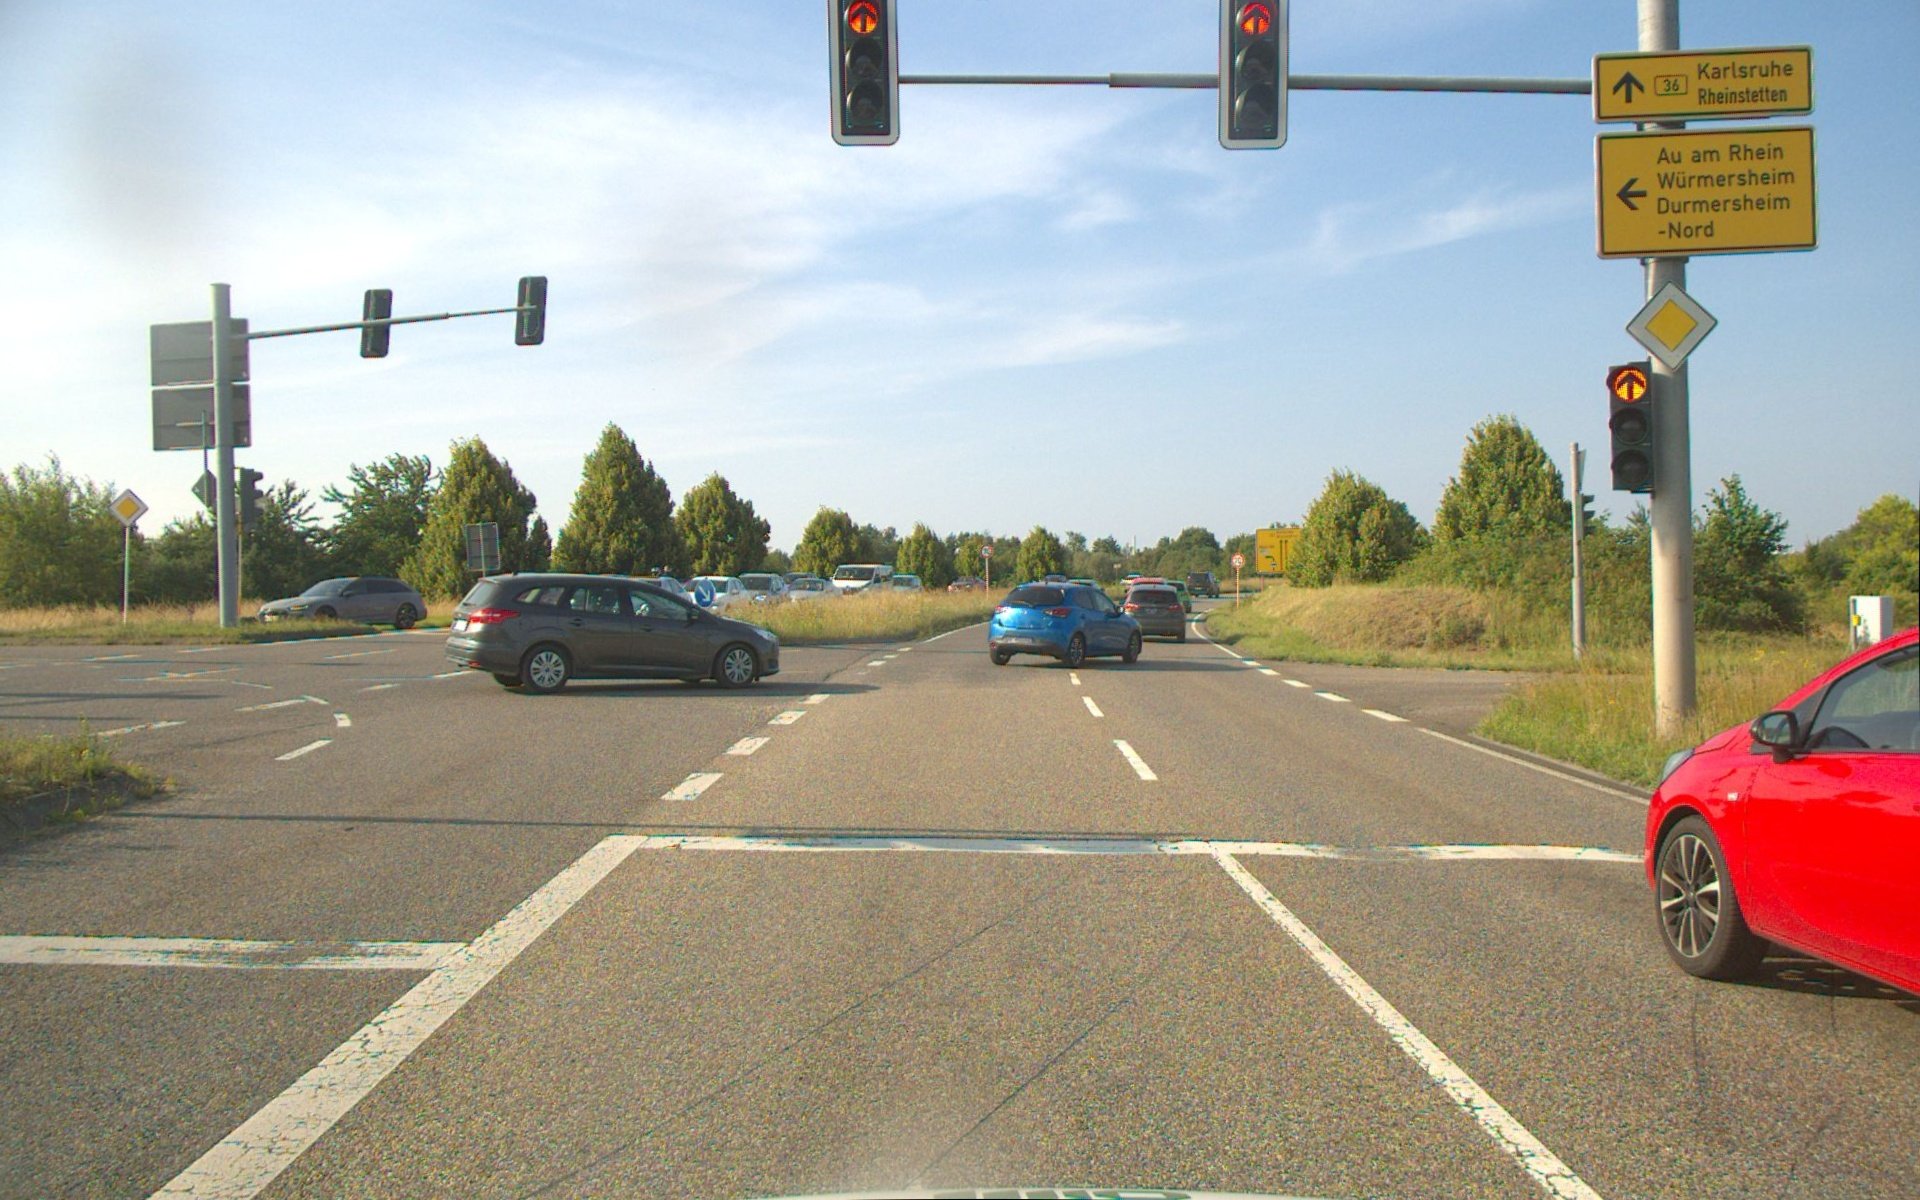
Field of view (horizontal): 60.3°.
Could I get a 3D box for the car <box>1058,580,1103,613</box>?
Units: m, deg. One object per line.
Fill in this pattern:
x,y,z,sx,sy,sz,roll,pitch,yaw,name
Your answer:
5.437,-0.158,74.232,1.797,1.401,4.281,0,-1,7,car

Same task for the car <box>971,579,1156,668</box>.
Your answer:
1.975,0.387,30.545,1.741,1.518,3.975,1,1,32,car

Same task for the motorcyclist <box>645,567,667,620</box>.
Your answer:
-10.253,-0.223,55.745,0.649,1.778,0.605,0,0,-3,motorcyclist

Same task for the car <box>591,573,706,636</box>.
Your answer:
-7.968,0.091,42.667,1.748,1.514,4.654,0,0,4,car

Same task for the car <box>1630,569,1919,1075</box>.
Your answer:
3.807,0.684,5.264,1.663,1.576,3.748,0,0,-3,car

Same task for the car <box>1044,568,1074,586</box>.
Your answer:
8.116,-1.881,135.419,1.748,1.410,4.055,0,0,14,car

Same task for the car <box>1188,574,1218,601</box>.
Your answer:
17.354,-0.876,118.170,1.868,1.765,4.280,0,-1,6,car

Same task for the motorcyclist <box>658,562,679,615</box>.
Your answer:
-10.315,-0.414,58.622,0.649,1.848,0.605,0,0,-3,motorcyclist

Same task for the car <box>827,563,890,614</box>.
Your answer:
-4.347,-0.487,71.479,1.884,2.114,4.247,0,0,8,car

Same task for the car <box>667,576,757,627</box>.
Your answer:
-7.432,0.012,49.861,1.748,1.458,4.311,0,0,4,car

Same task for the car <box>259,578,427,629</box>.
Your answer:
-16.685,0.073,44.952,1.408,1.315,4.670,0,1,24,car

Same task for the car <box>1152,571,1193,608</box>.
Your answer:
11.648,-0.558,90.979,1.869,1.949,4.279,0,-1,2,car

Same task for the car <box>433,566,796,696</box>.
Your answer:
-4.599,0.378,22.218,4.469,1.593,1.797,0,0,-31,car

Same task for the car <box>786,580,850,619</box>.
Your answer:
-5.312,-0.033,62.129,1.748,1.410,4.054,0,0,4,car

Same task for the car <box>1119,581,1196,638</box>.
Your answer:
5.148,0.266,43.577,1.874,1.440,3.797,0,-1,5,car

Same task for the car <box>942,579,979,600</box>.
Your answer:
0.073,-0.744,117.616,1.748,1.410,4.055,0,0,14,car

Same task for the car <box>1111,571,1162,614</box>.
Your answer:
6.962,-0.273,64.944,1.855,1.592,4.281,0,-1,8,car

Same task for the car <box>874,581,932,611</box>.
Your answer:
-2.723,-0.194,80.088,1.748,1.410,4.055,0,0,14,car

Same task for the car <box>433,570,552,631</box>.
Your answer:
-12.036,-0.007,42.772,1.684,1.514,3.807,0,0,5,car

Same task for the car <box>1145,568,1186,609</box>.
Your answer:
9.680,-0.515,77.713,1.868,1.831,4.281,0,-1,8,car

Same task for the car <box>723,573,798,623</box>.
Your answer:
-6.700,-0.084,55.899,1.748,1.596,4.054,0,0,4,car
